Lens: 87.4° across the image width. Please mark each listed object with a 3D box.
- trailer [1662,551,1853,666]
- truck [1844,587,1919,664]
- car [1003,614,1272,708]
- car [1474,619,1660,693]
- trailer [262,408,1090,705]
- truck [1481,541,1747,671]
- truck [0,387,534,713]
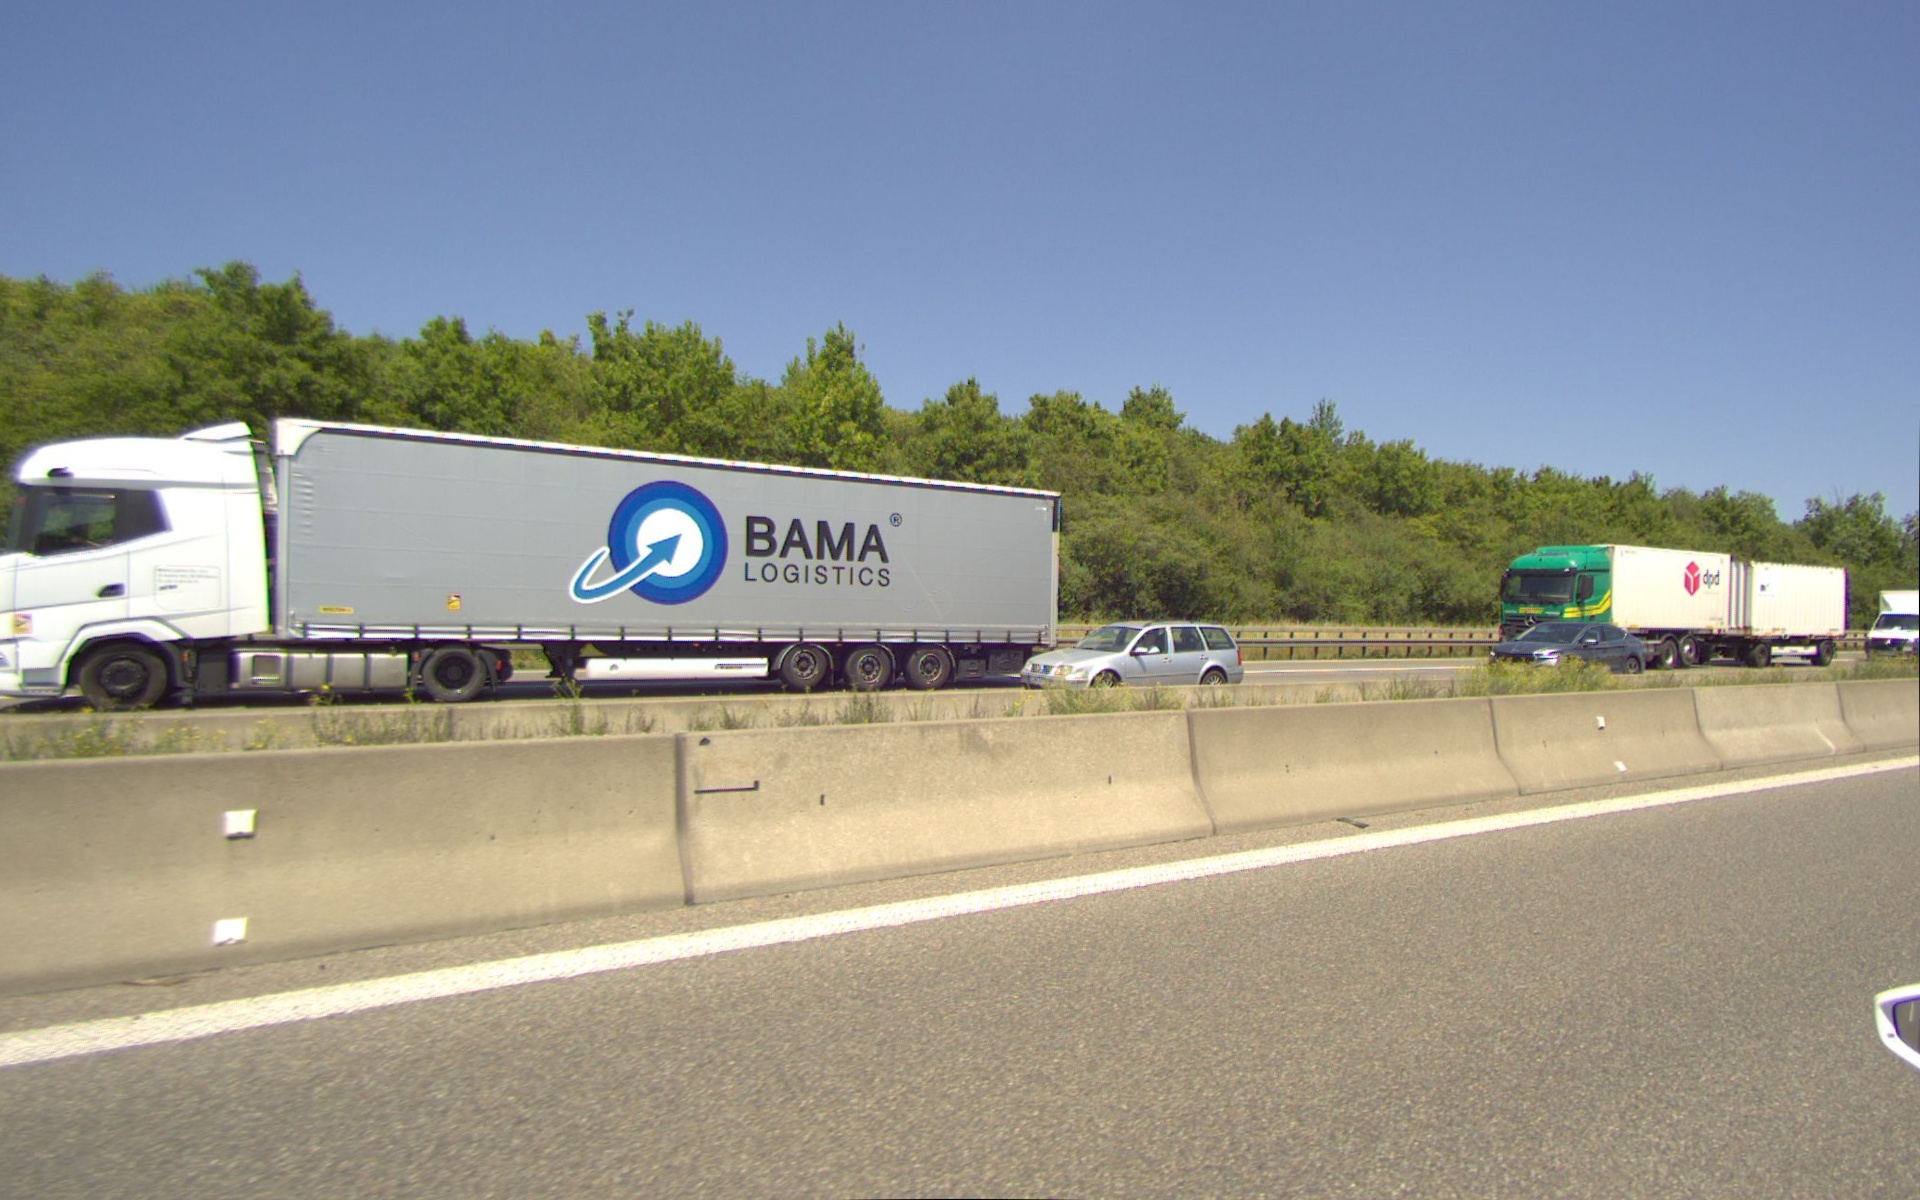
[{"bbox_3d":[31.167,0.397,39.188,8.127,4.125,2.908,1,-1,-28],"label":"trailer"},{"bbox_3d":[43.208,1.142,45.404,7.496,3.250,2.527,1,0,-29],"label":"truck"},{"bbox_3d":[3.288,1.112,18.188,4.803,1.479,1.743,3,-1,-31],"label":"car"},{"bbox_3d":[15.429,1.430,25.458,5.054,1.663,1.852,3,-1,-30],"label":"car"},{"bbox_3d":[-4.181,-0.425,18.814,14.272,4.140,2.889,2,-1,-30],"label":"trailer"},{"bbox_3d":[22.646,0.291,34.483,11.110,3.950,2.830,1,-1,-29],"label":"truck"},{"bbox_3d":[-10.231,-0.552,15.322,6.527,4.090,2.839,2,-1,-30],"label":"truck"}]
